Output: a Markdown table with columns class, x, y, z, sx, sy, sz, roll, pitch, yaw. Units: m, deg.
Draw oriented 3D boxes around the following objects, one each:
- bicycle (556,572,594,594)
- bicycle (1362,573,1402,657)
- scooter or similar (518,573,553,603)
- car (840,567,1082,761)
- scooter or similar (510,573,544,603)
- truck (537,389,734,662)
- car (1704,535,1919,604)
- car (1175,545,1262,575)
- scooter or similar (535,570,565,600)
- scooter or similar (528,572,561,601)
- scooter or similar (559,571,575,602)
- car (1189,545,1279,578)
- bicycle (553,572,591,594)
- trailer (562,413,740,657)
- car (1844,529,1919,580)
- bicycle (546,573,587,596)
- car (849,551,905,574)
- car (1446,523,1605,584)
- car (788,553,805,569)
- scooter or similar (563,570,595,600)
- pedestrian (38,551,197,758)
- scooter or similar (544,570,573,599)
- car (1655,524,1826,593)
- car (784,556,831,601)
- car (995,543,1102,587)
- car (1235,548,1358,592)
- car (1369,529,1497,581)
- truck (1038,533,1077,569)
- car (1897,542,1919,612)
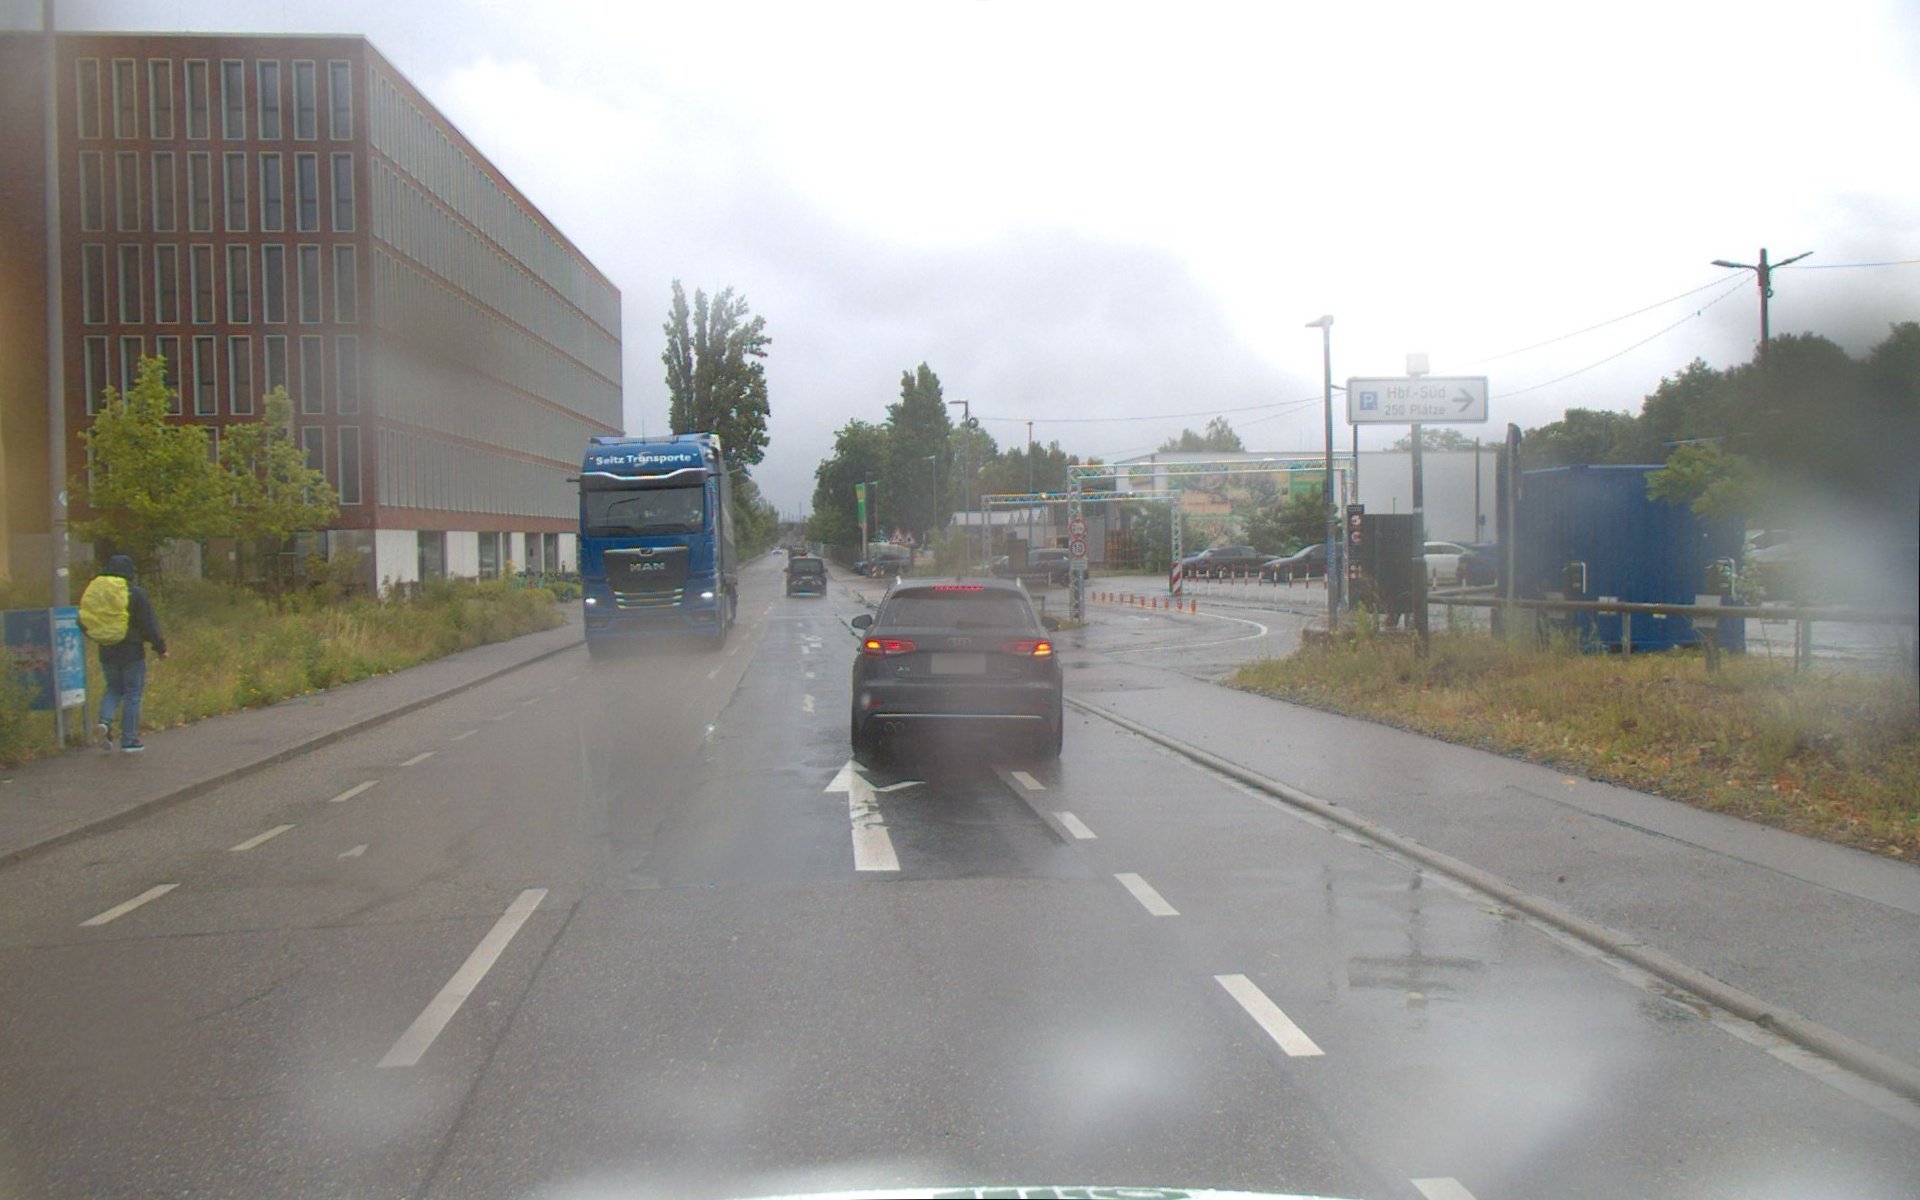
| class | x | y | z | sx | sy | sz | roll | pitch | yaw |
| --- | --- | --- | --- | --- | --- | --- | --- | --- | --- |
| bicycle | -19.725 | -0.854 | 84.748 | 1.824 | 1.096 | 0.543 | 0 | 1 | -7 |
| bicycle | 5.912 | 0.189 | 23.128 | 0.496 | 1.103 | 1.704 | -1 | 1 | 15 |
| scooter or similar | -17.805 | -0.500 | 69.357 | 1.289 | 1.198 | 0.467 | -2 | 2 | 0 |
| car | -0.044 | 0.464 | 14.863 | 1.856 | 1.482 | 4.226 | 0 | 1 | -2 |
| scooter or similar | -18.289 | -0.513 | 69.852 | 1.289 | 1.198 | 0.467 | -2 | 2 | 0 |
| truck | -6.115 | -1.398 | 32.193 | 3.232 | 4.734 | 6.024 | -2 | 1 | -7 |
| car | 18.207 | -0.652 | 34.515 | 4.501 | 1.242 | 1.975 | -3 | 0 | -7 |
| car | 12.836 | -1.992 | 82.309 | 3.909 | 1.434 | 1.998 | -1 | 0 | -5 |
| scooter or similar | -17.842 | -0.646 | 71.971 | 0.458 | 1.251 | 1.203 | -1 | 2 | 36 |
| scooter or similar | -17.868 | -0.584 | 71.132 | 1.296 | 1.198 | 0.465 | -2 | 2 | -18 |
| scooter or similar | -16.371 | -0.565 | 68.912 | 0.457 | 1.251 | 1.318 | -2 | 2 | -9 |
| car | 13.221 | -1.864 | 79.925 | 3.909 | 1.511 | 1.998 | -1 | 0 | -5 |
| bicycle | -19.672 | -0.840 | 83.888 | 1.824 | 1.096 | 0.543 | 0 | 1 | -7 |
| trailer | -6.979 | -1.440 | 39.432 | 3.232 | 4.734 | 13.712 | -2 | 1 | -7 |
| car | 22.952 | -1.132 | 38.356 | 3.984 | 1.090 | 1.829 | -4 | 0 | -8 |
| bicycle | -19.364 | -0.779 | 81.455 | 1.911 | 1.096 | 0.620 | 0 | 1 | -7 |
| car | -6.162 | -2.787 | 122.565 | 4.054 | 1.596 | 1.764 | -1 | 1 | -4 |
| car | 16.731 | -1.372 | 49.065 | 3.965 | 1.509 | 1.927 | -4 | 0 | -3 |
| car | -17.860 | -4.236 | 180.692 | 1.696 | 1.716 | 3.895 | -1 | 1 | -3 |
| scooter or similar | -16.494 | -0.664 | 71.666 | 1.290 | 1.251 | 0.467 | -1 | 2 | 23 |
| pedestrian | -7.420 | 0.455 | 14.624 | 0.891 | 1.748 | 1.025 | -1 | 1 | -6 |
| scooter or similar | -17.677 | -0.679 | 72.912 | 0.458 | 1.229 | 1.203 | -1 | 2 | 36 |
| car | 22.129 | -1.174 | 46.952 | 3.984 | 1.688 | 1.829 | -4 | 0 | -8 |
| car | -6.935 | -0.996 | 74.951 | 1.956 | 1.943 | 4.195 | -2 | 1 | -7 |
| car | 3.913 | -1.552 | 73.882 | 4.586 | 1.765 | 2.127 | -2 | 0 | -2 |
| car | 13.825 | -1.215 | 68.057 | 4.537 | 1.746 | 2.013 | -1 | 0 | -12 |
| car | 16.199 | -1.536 | 56.759 | 3.754 | 1.509 | 1.927 | -4 | 0 | -3 |
| truck | 7.774 | -3.927 | 132.078 | 2.255 | 2.705 | 7.413 | -2 | 2 | -3 |
| car | 18.932 | -0.500 | 29.211 | 3.809 | 1.242 | 1.647 | -3 | 0 | -1 |
